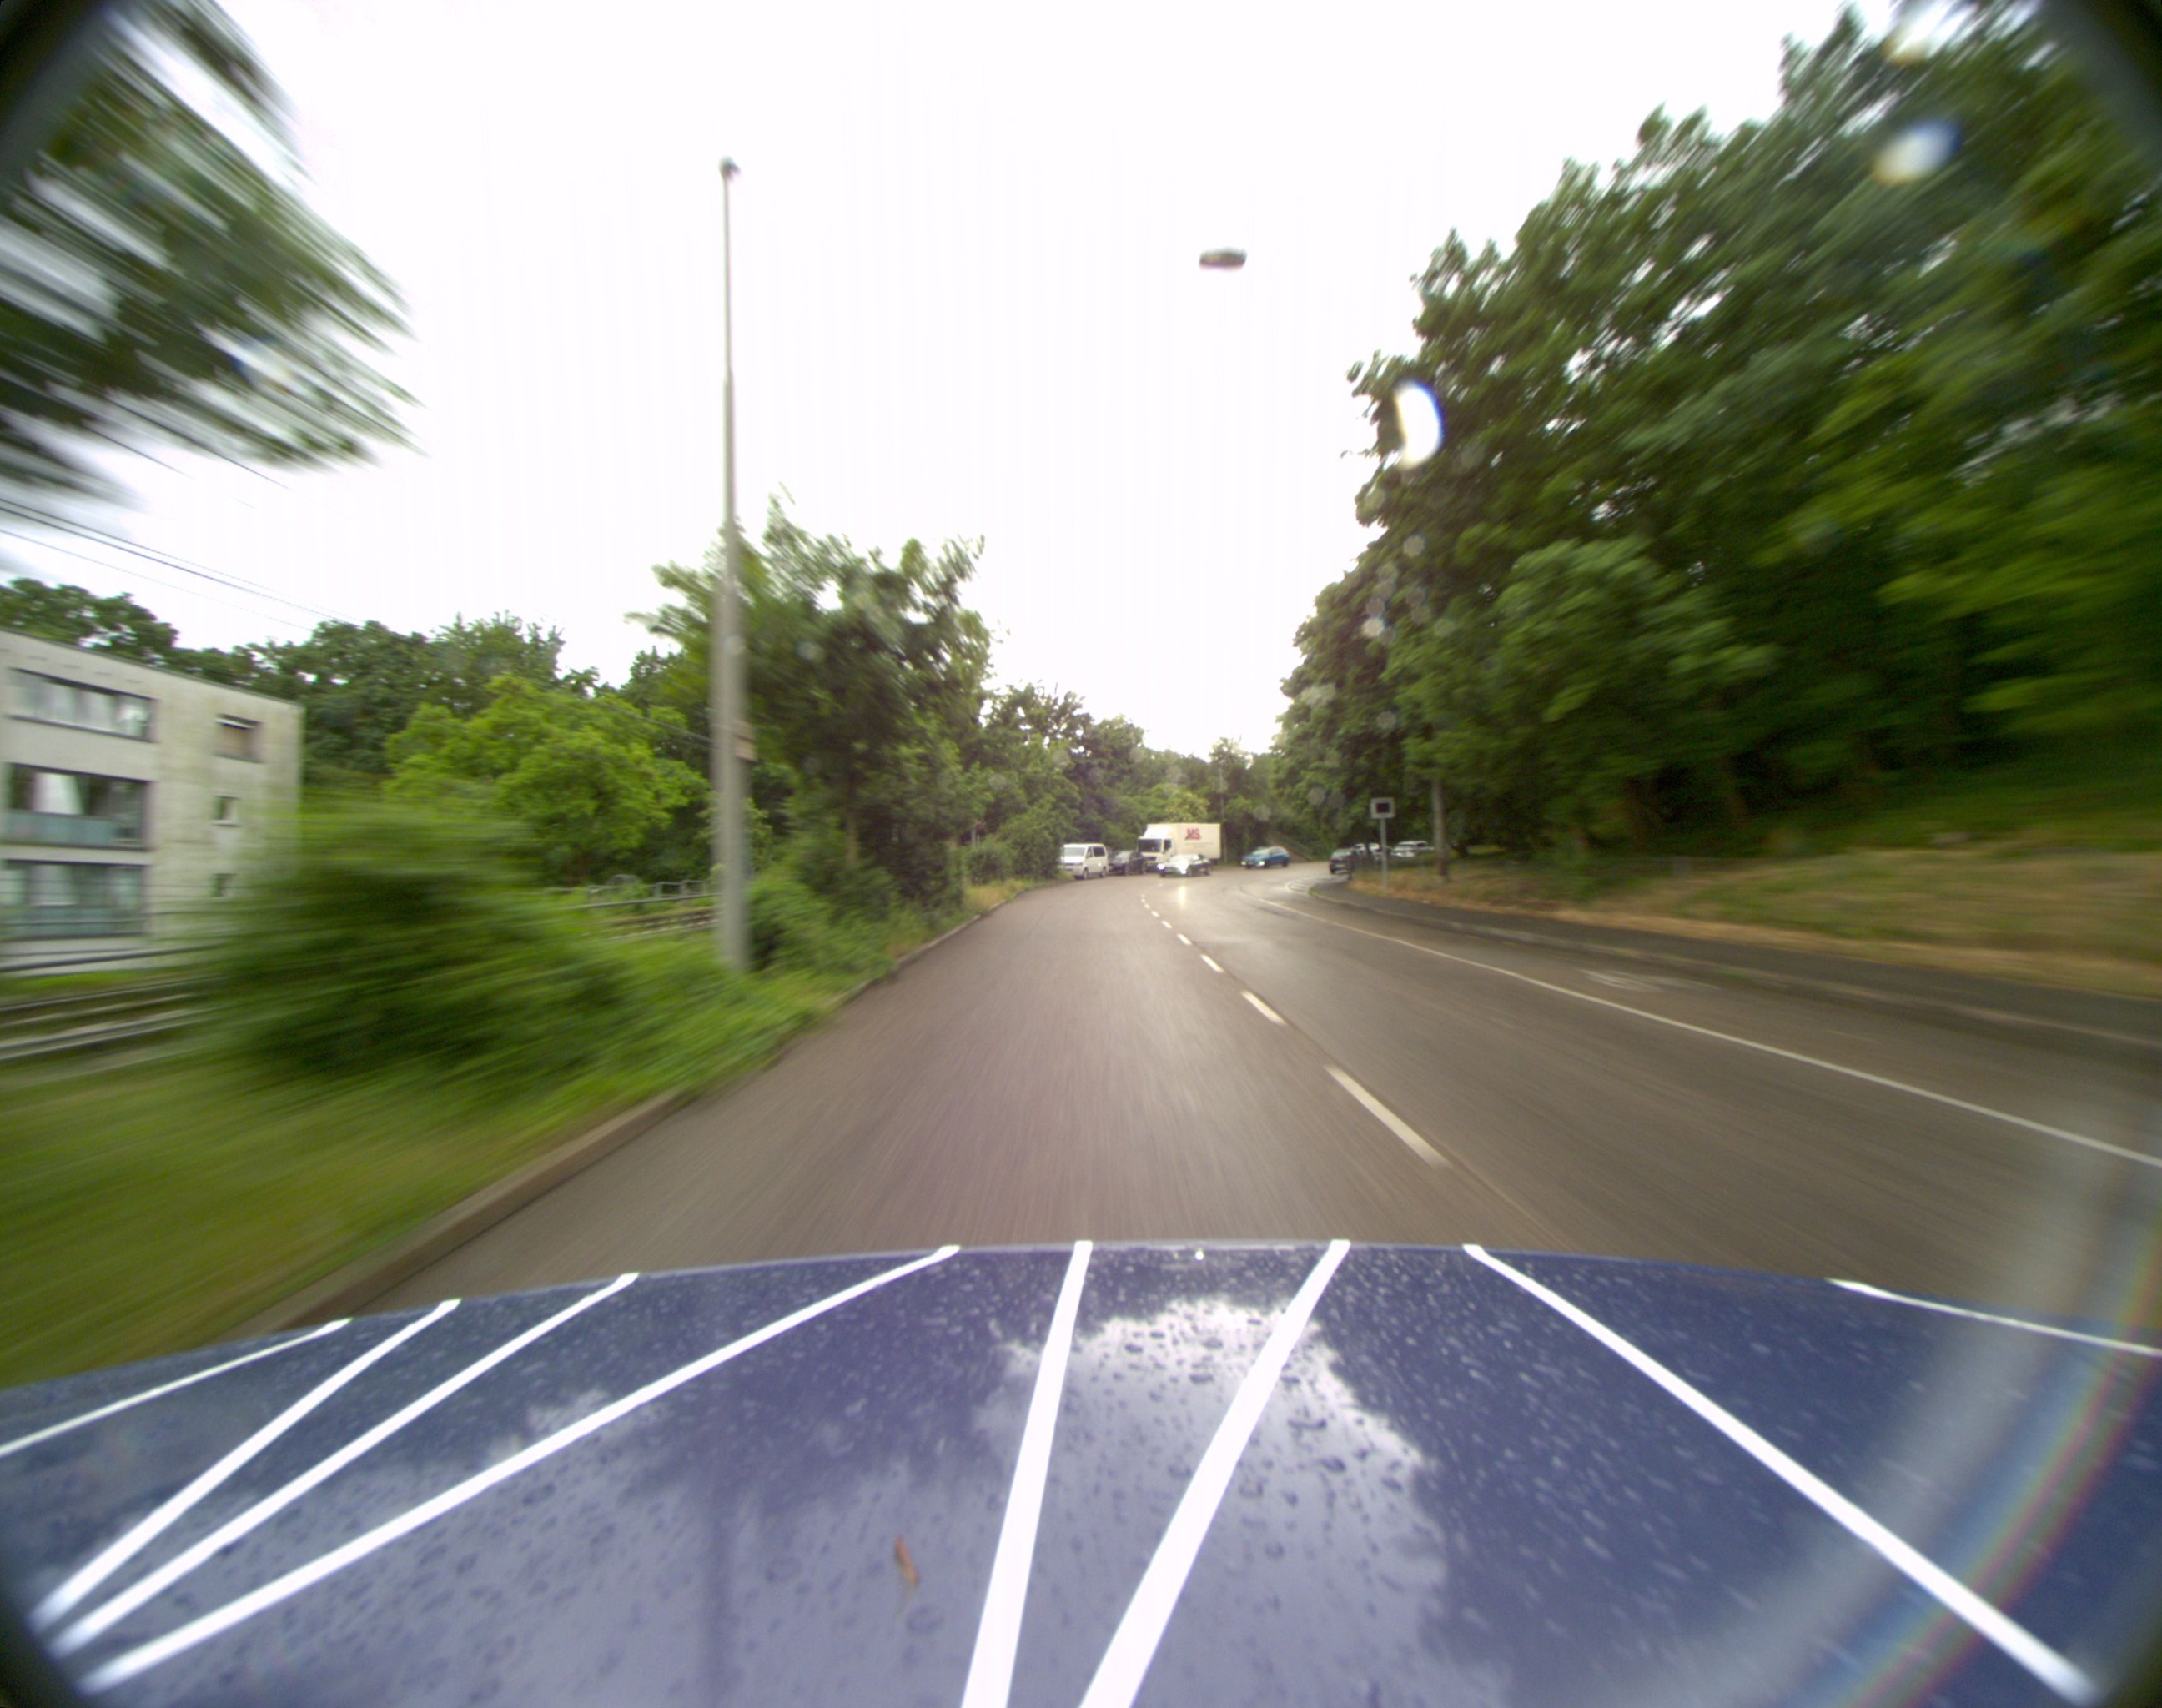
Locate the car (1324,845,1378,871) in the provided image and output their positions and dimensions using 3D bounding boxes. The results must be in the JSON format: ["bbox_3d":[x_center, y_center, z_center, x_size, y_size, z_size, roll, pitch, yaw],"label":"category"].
[{"bbox_3d":[16.804,0.232,47.161,1.774,1.435,4.023,-1,2,40],"label":"car"}]

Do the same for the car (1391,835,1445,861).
[{"bbox_3d":[24.154,-0.413,54.383,4.031,1.574,1.805,-5,2,-39],"label":"car"}]

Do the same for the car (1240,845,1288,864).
[{"bbox_3d":[15.295,0.014,63.353,4.132,1.436,1.721,-2,1,-39],"label":"car"}]

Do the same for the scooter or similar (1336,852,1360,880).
[{"bbox_3d":[12.942,0.575,36.816,0.608,1.260,1.440,-6,0,35],"label":"scooter or similar"}]

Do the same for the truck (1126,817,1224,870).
[{"bbox_3d":[7.005,-0.800,55.436,3.008,3.553,8.352,-2,1,39],"label":"truck"}]

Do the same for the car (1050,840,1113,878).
[{"bbox_3d":[0.103,0.237,43.314,1.878,2.002,4.698,1,1,23],"label":"car"}]

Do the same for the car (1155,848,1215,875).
[{"bbox_3d":[6.521,0.436,47.076,1.895,1.530,4.509,-1,0,33],"label":"car"}]

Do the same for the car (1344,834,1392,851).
[{"bbox_3d":[26.812,-1.076,70.987,4.100,1.392,1.758,-3,-1,-24],"label":"car"}]

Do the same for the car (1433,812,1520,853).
[{"bbox_3d":[30.074,-1.685,57.824,6.353,2.540,2.073,-4,12,-23],"label":"car"}]

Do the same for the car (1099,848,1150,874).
[{"bbox_3d":[2.888,0.409,49.205,1.719,1.547,4.284,0,1,27],"label":"car"}]

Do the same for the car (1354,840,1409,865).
[{"bbox_3d":[20.170,-0.109,50.979,4.054,1.448,1.752,-4,2,-41],"label":"car"}]

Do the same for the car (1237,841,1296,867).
[{"bbox_3d":[13.938,-0.026,56.905,4.538,1.661,1.995,-4,2,-41],"label":"car"}]
